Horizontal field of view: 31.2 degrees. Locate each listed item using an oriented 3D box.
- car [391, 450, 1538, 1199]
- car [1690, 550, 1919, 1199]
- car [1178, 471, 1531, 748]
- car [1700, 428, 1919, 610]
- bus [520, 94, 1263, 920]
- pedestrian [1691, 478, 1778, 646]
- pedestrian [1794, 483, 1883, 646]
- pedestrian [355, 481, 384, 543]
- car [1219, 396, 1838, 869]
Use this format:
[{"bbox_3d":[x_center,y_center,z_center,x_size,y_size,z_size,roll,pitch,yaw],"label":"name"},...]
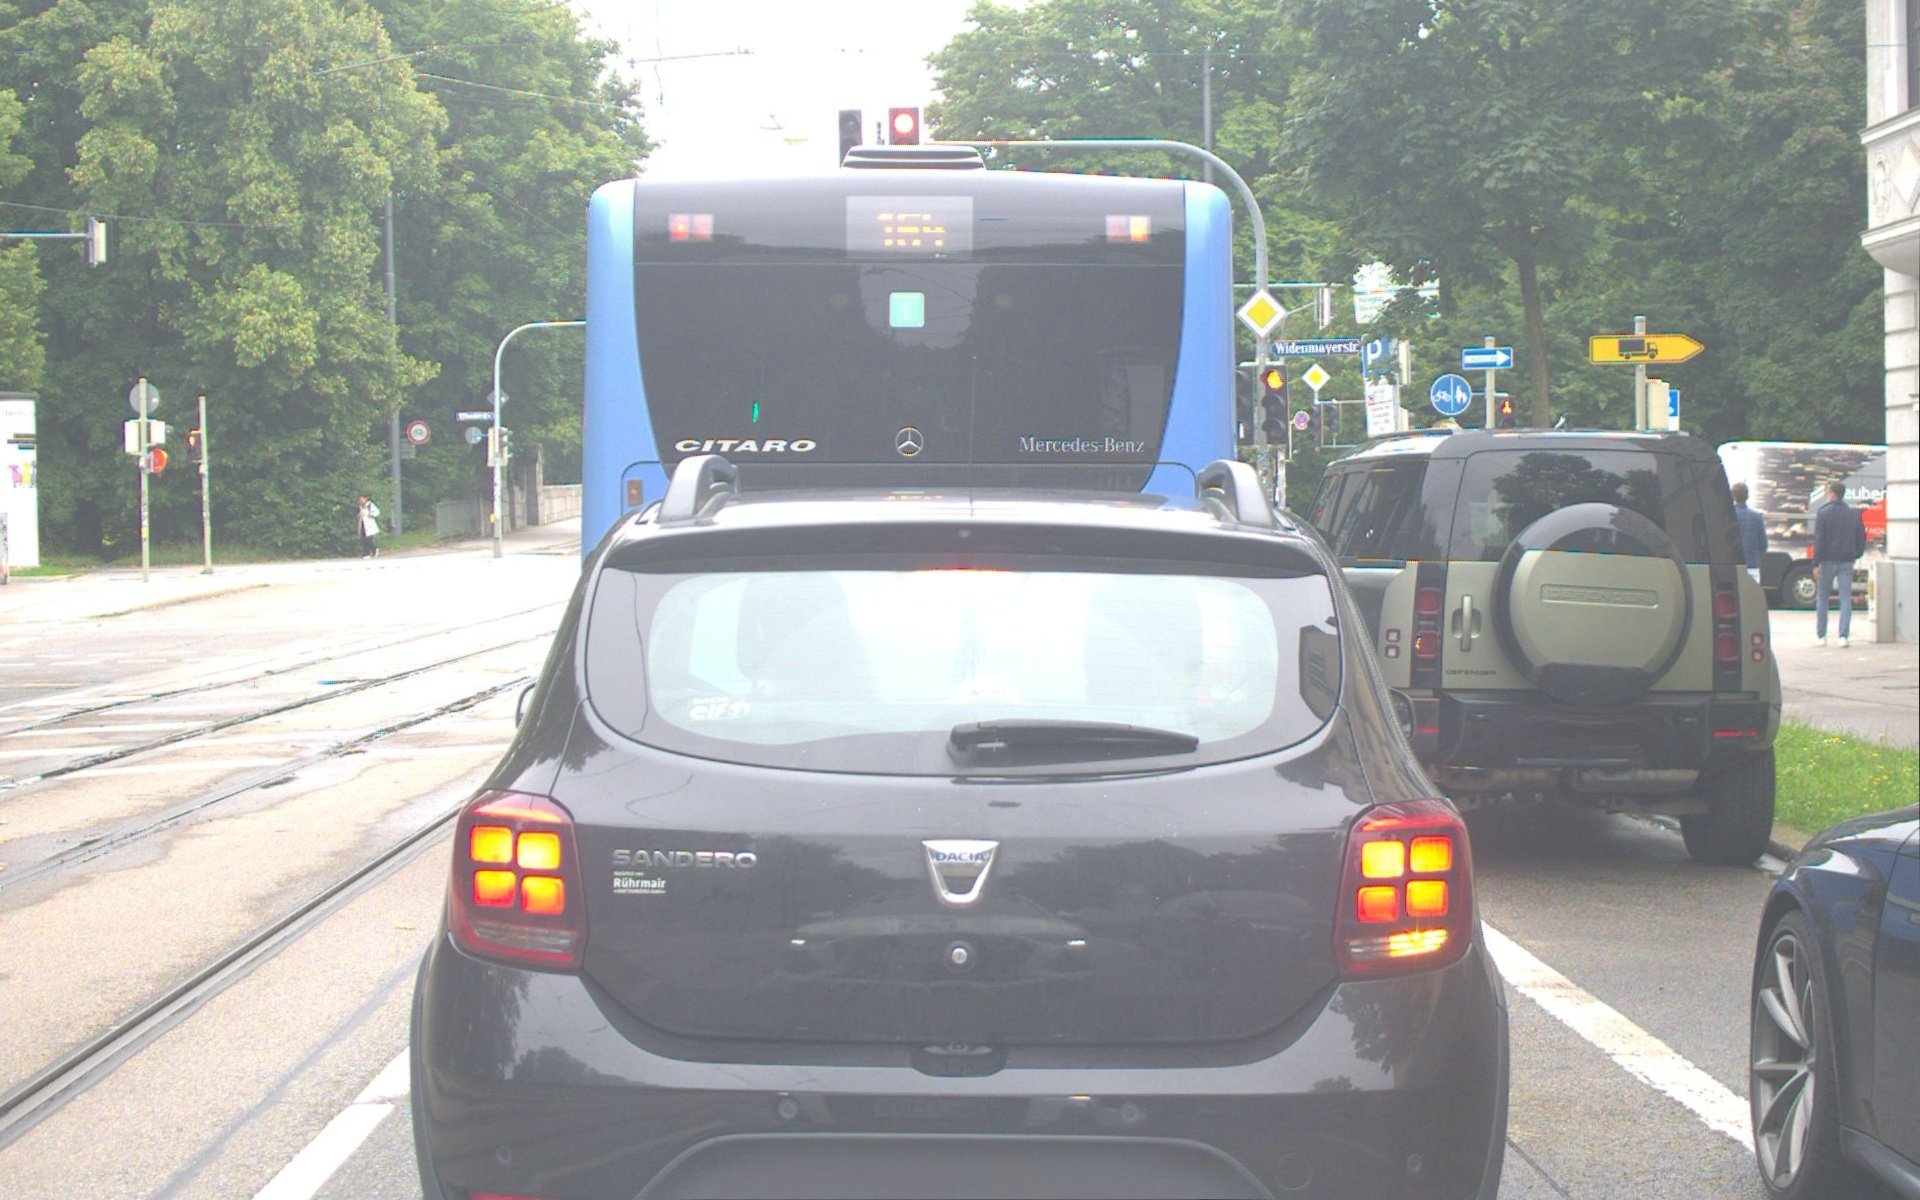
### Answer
[{"bbox_3d":[-0.033,0.547,6.626,1.600,1.551,3.525,1,1,-1],"label":"car"},{"bbox_3d":[2.642,0.654,5.819,1.716,1.421,4.603,1,1,-1],"label":"car"},{"bbox_3d":[2.444,0.015,22.248,1.714,1.586,4.327,1,1,-1],"label":"car"},{"bbox_3d":[14.002,-1.174,51.384,5.295,2.603,2.231,1,1,-3],"label":"car"},{"bbox_3d":[-0.397,-0.400,16.149,2.678,2.987,6.962,1,1,-2],"label":"bus"},{"bbox_3d":[8.498,-0.416,37.741,0.705,1.810,0.870,1,1,-1],"label":"pedestrian"},{"bbox_3d":[9.506,-0.389,37.231,0.705,1.726,0.843,1,1,-1],"label":"pedestrian"},{"bbox_3d":[-14.402,-2.152,83.848,0.532,1.496,0.588,1,1,4],"label":"pedestrian"},{"bbox_3d":[2.509,0.090,16.458,1.914,1.899,4.809,1,1,-3],"label":"car"}]
